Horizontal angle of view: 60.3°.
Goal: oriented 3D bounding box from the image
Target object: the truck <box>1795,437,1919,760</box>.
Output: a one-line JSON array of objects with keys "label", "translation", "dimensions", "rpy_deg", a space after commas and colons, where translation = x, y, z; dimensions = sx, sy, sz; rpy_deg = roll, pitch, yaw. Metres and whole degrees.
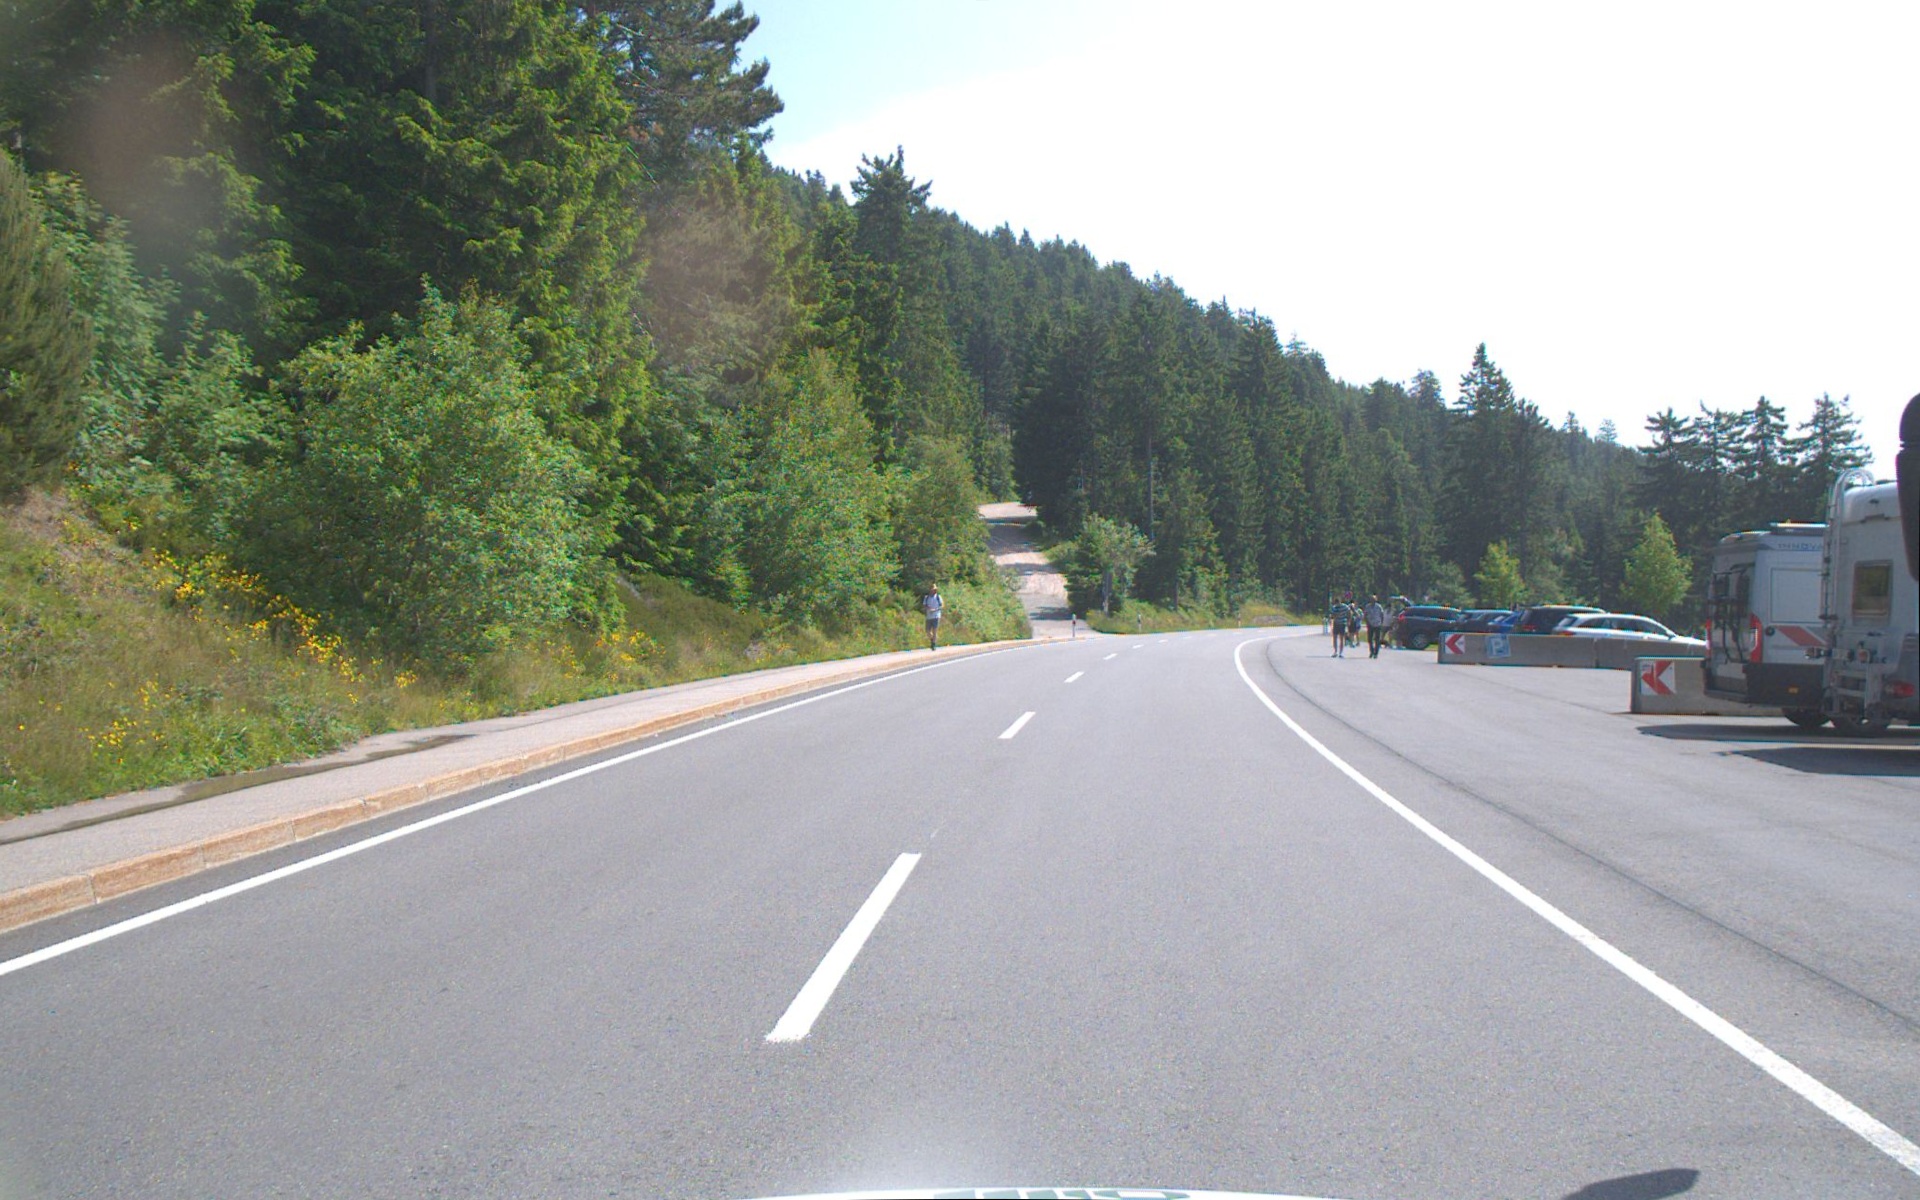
[{"label": "truck", "translation": [12.525, -0.008, 17.652], "dimensions": [5.935, 3.252, 2.534], "rpy_deg": [0, 0, 5]}]

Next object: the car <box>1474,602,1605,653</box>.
[{"label": "car", "translation": [19.961, 0.933, 57.133], "dimensions": [3.903, 1.562, 1.809], "rpy_deg": [1, 3, 4]}]

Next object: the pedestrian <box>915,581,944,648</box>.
[{"label": "pedestrian", "translation": [-0.805, 0.381, 43.934], "dimensions": [0.668, 1.777, 0.825], "rpy_deg": [1, 0, 3]}]

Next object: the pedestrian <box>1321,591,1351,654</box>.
[{"label": "pedestrian", "translation": [10.824, 0.628, 47.621], "dimensions": [0.738, 1.791, 0.775], "rpy_deg": [0, 0, 22]}]

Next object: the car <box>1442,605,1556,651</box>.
[{"label": "car", "translation": [19.707, 1.023, 60.535], "dimensions": [3.673, 1.595, 1.601], "rpy_deg": [1, 0, 2]}]

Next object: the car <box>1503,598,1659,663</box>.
[{"label": "car", "translation": [18.064, 0.869, 48.248], "dimensions": [3.903, 1.675, 1.601], "rpy_deg": [3, 0, 4]}]

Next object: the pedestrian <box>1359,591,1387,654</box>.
[{"label": "pedestrian", "translation": [11.790, 0.632, 47.234], "dimensions": [0.651, 1.771, 0.894], "rpy_deg": [0, 0, 21]}]

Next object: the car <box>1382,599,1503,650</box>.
[{"label": "car", "translation": [18.497, 0.918, 63.532], "dimensions": [4.174, 1.825, 1.894], "rpy_deg": [1, 1, 5]}]

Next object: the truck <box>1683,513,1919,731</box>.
[{"label": "truck", "translation": [12.762, 0.263, 21.038], "dimensions": [6.127, 2.636, 2.342], "rpy_deg": [0, 0, 8]}]

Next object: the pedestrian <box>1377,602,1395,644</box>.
[{"label": "pedestrian", "translation": [17.377, 0.945, 67.422], "dimensions": [0.639, 1.689, 0.688], "rpy_deg": [0, 1, 21]}]

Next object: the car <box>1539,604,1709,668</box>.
[{"label": "car", "translation": [18.116, 0.964, 45.259], "dimensions": [3.903, 1.502, 1.774], "rpy_deg": [3, 0, 5]}]

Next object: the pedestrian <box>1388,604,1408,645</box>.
[{"label": "pedestrian", "translation": [17.586, 0.984, 66.378], "dimensions": [0.605, 1.615, 0.734], "rpy_deg": [0, 1, 27]}]
